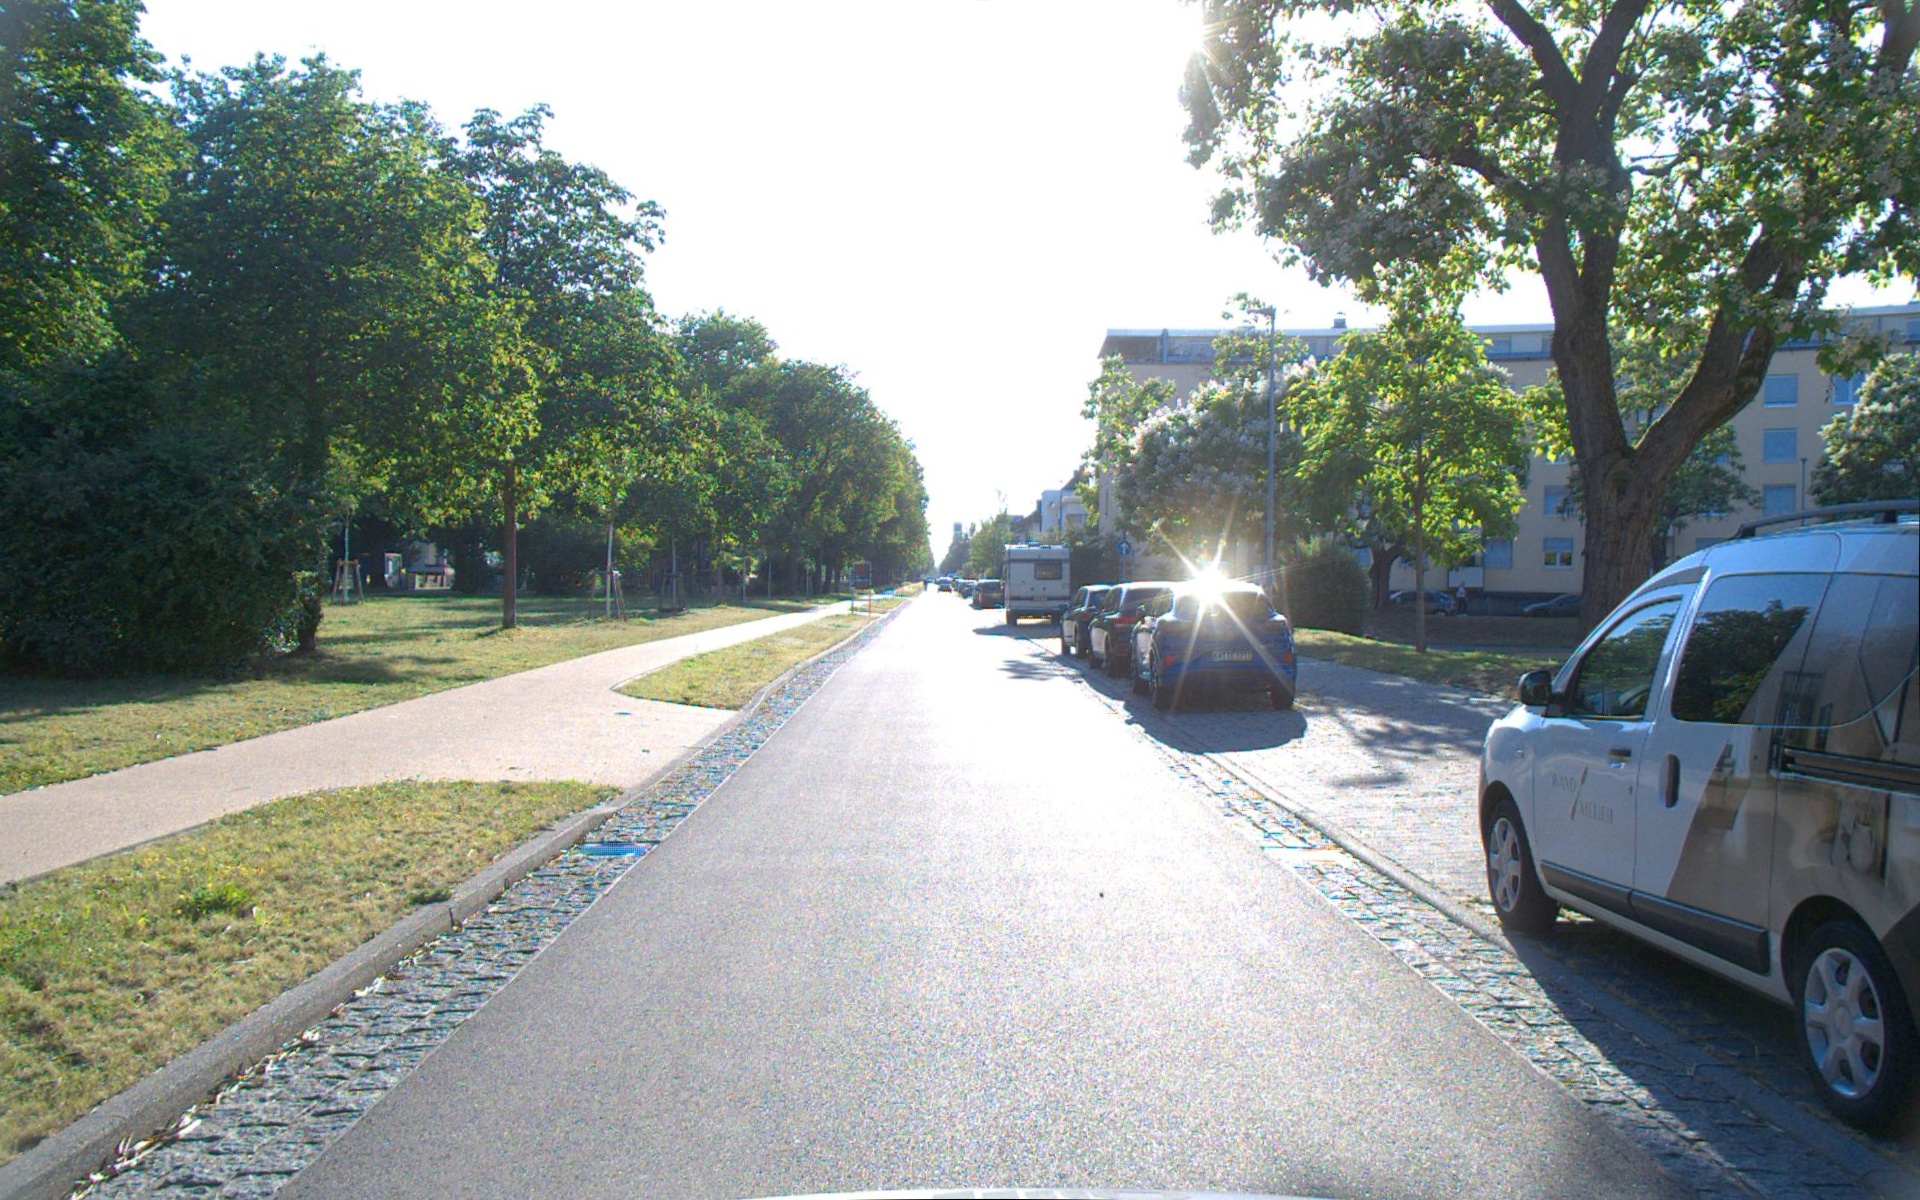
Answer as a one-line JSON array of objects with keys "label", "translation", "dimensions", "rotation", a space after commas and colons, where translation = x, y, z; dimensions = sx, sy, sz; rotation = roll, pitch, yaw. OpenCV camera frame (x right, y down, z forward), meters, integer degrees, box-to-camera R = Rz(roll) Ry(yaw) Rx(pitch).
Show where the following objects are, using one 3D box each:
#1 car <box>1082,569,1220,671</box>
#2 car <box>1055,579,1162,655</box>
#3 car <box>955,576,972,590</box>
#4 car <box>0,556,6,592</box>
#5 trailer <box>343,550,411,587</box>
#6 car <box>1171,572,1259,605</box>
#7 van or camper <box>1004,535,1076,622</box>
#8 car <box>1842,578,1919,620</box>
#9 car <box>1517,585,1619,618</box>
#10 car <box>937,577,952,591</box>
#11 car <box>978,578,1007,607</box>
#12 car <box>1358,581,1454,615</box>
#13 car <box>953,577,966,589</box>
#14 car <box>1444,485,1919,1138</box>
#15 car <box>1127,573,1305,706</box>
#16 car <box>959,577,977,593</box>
[{"label": "car", "translation": [3.149, 0.295, 28.077], "dimensions": [1.697, 1.578, 4.421], "rotation": [0, 0, -2]}, {"label": "car", "translation": [3.047, 0.321, 34.659], "dimensions": [1.594, 1.489, 4.246], "rotation": [0, 0, -4]}, {"label": "car", "translation": [0.381, -1.705, 165.888], "dimensions": [1.593, 1.434, 4.248], "rotation": [0, 0, -1]}, {"label": "car", "translation": [-42.007, -1.123, 69.136], "dimensions": [1.953, 1.534, 4.000], "rotation": [0, 0, 0]}, {"label": "trailer", "translation": [-42.224, -2.246, 120.049], "dimensions": [2.409, 2.532, 7.050], "rotation": [0, 0, 0]}, {"label": "car", "translation": [12.508, -0.577, 81.393], "dimensions": [4.107, 1.557, 2.001], "rotation": [0, 0, 3]}, {"label": "van or camper", "translation": [2.791, -0.722, 59.200], "dimensions": [2.189, 2.955, 5.671], "rotation": [0, 0, -1]}, {"label": "car", "translation": [40.869, -0.053, 71.792], "dimensions": [4.433, 1.776, 1.874], "rotation": [1, 0, 34]}, {"label": "car", "translation": [26.371, 0.066, 71.777], "dimensions": [4.108, 1.381, 1.693], "rotation": [0, 0, 20]}, {"label": "car", "translation": [-1.878, -2.025, 204.101], "dimensions": [1.789, 1.698, 4.248], "rotation": [0, 0, -1]}, {"label": "car", "translation": [1.952, -0.475, 100.650], "dimensions": [1.593, 1.698, 4.248], "rotation": [0, 0, -1]}, {"label": "car", "translation": [19.955, -0.086, 74.056], "dimensions": [4.106, 1.488, 1.694], "rotation": [0, 0, 15]}, {"label": "car", "translation": [-0.079, -2.057, 202.034], "dimensions": [1.593, 1.434, 4.248], "rotation": [0, 0, -1]}, {"label": "car", "translation": [3.394, 0.561, 6.408], "dimensions": [1.644, 1.770, 4.513], "rotation": [0, 0, -1]}, {"label": "car", "translation": [3.262, 0.455, 21.827], "dimensions": [1.696, 1.578, 4.276], "rotation": [0, 0, 0]}, {"label": "car", "translation": [0.708, -1.413, 154.339], "dimensions": [1.593, 1.434, 4.248], "rotation": [0, 0, -1]}]
